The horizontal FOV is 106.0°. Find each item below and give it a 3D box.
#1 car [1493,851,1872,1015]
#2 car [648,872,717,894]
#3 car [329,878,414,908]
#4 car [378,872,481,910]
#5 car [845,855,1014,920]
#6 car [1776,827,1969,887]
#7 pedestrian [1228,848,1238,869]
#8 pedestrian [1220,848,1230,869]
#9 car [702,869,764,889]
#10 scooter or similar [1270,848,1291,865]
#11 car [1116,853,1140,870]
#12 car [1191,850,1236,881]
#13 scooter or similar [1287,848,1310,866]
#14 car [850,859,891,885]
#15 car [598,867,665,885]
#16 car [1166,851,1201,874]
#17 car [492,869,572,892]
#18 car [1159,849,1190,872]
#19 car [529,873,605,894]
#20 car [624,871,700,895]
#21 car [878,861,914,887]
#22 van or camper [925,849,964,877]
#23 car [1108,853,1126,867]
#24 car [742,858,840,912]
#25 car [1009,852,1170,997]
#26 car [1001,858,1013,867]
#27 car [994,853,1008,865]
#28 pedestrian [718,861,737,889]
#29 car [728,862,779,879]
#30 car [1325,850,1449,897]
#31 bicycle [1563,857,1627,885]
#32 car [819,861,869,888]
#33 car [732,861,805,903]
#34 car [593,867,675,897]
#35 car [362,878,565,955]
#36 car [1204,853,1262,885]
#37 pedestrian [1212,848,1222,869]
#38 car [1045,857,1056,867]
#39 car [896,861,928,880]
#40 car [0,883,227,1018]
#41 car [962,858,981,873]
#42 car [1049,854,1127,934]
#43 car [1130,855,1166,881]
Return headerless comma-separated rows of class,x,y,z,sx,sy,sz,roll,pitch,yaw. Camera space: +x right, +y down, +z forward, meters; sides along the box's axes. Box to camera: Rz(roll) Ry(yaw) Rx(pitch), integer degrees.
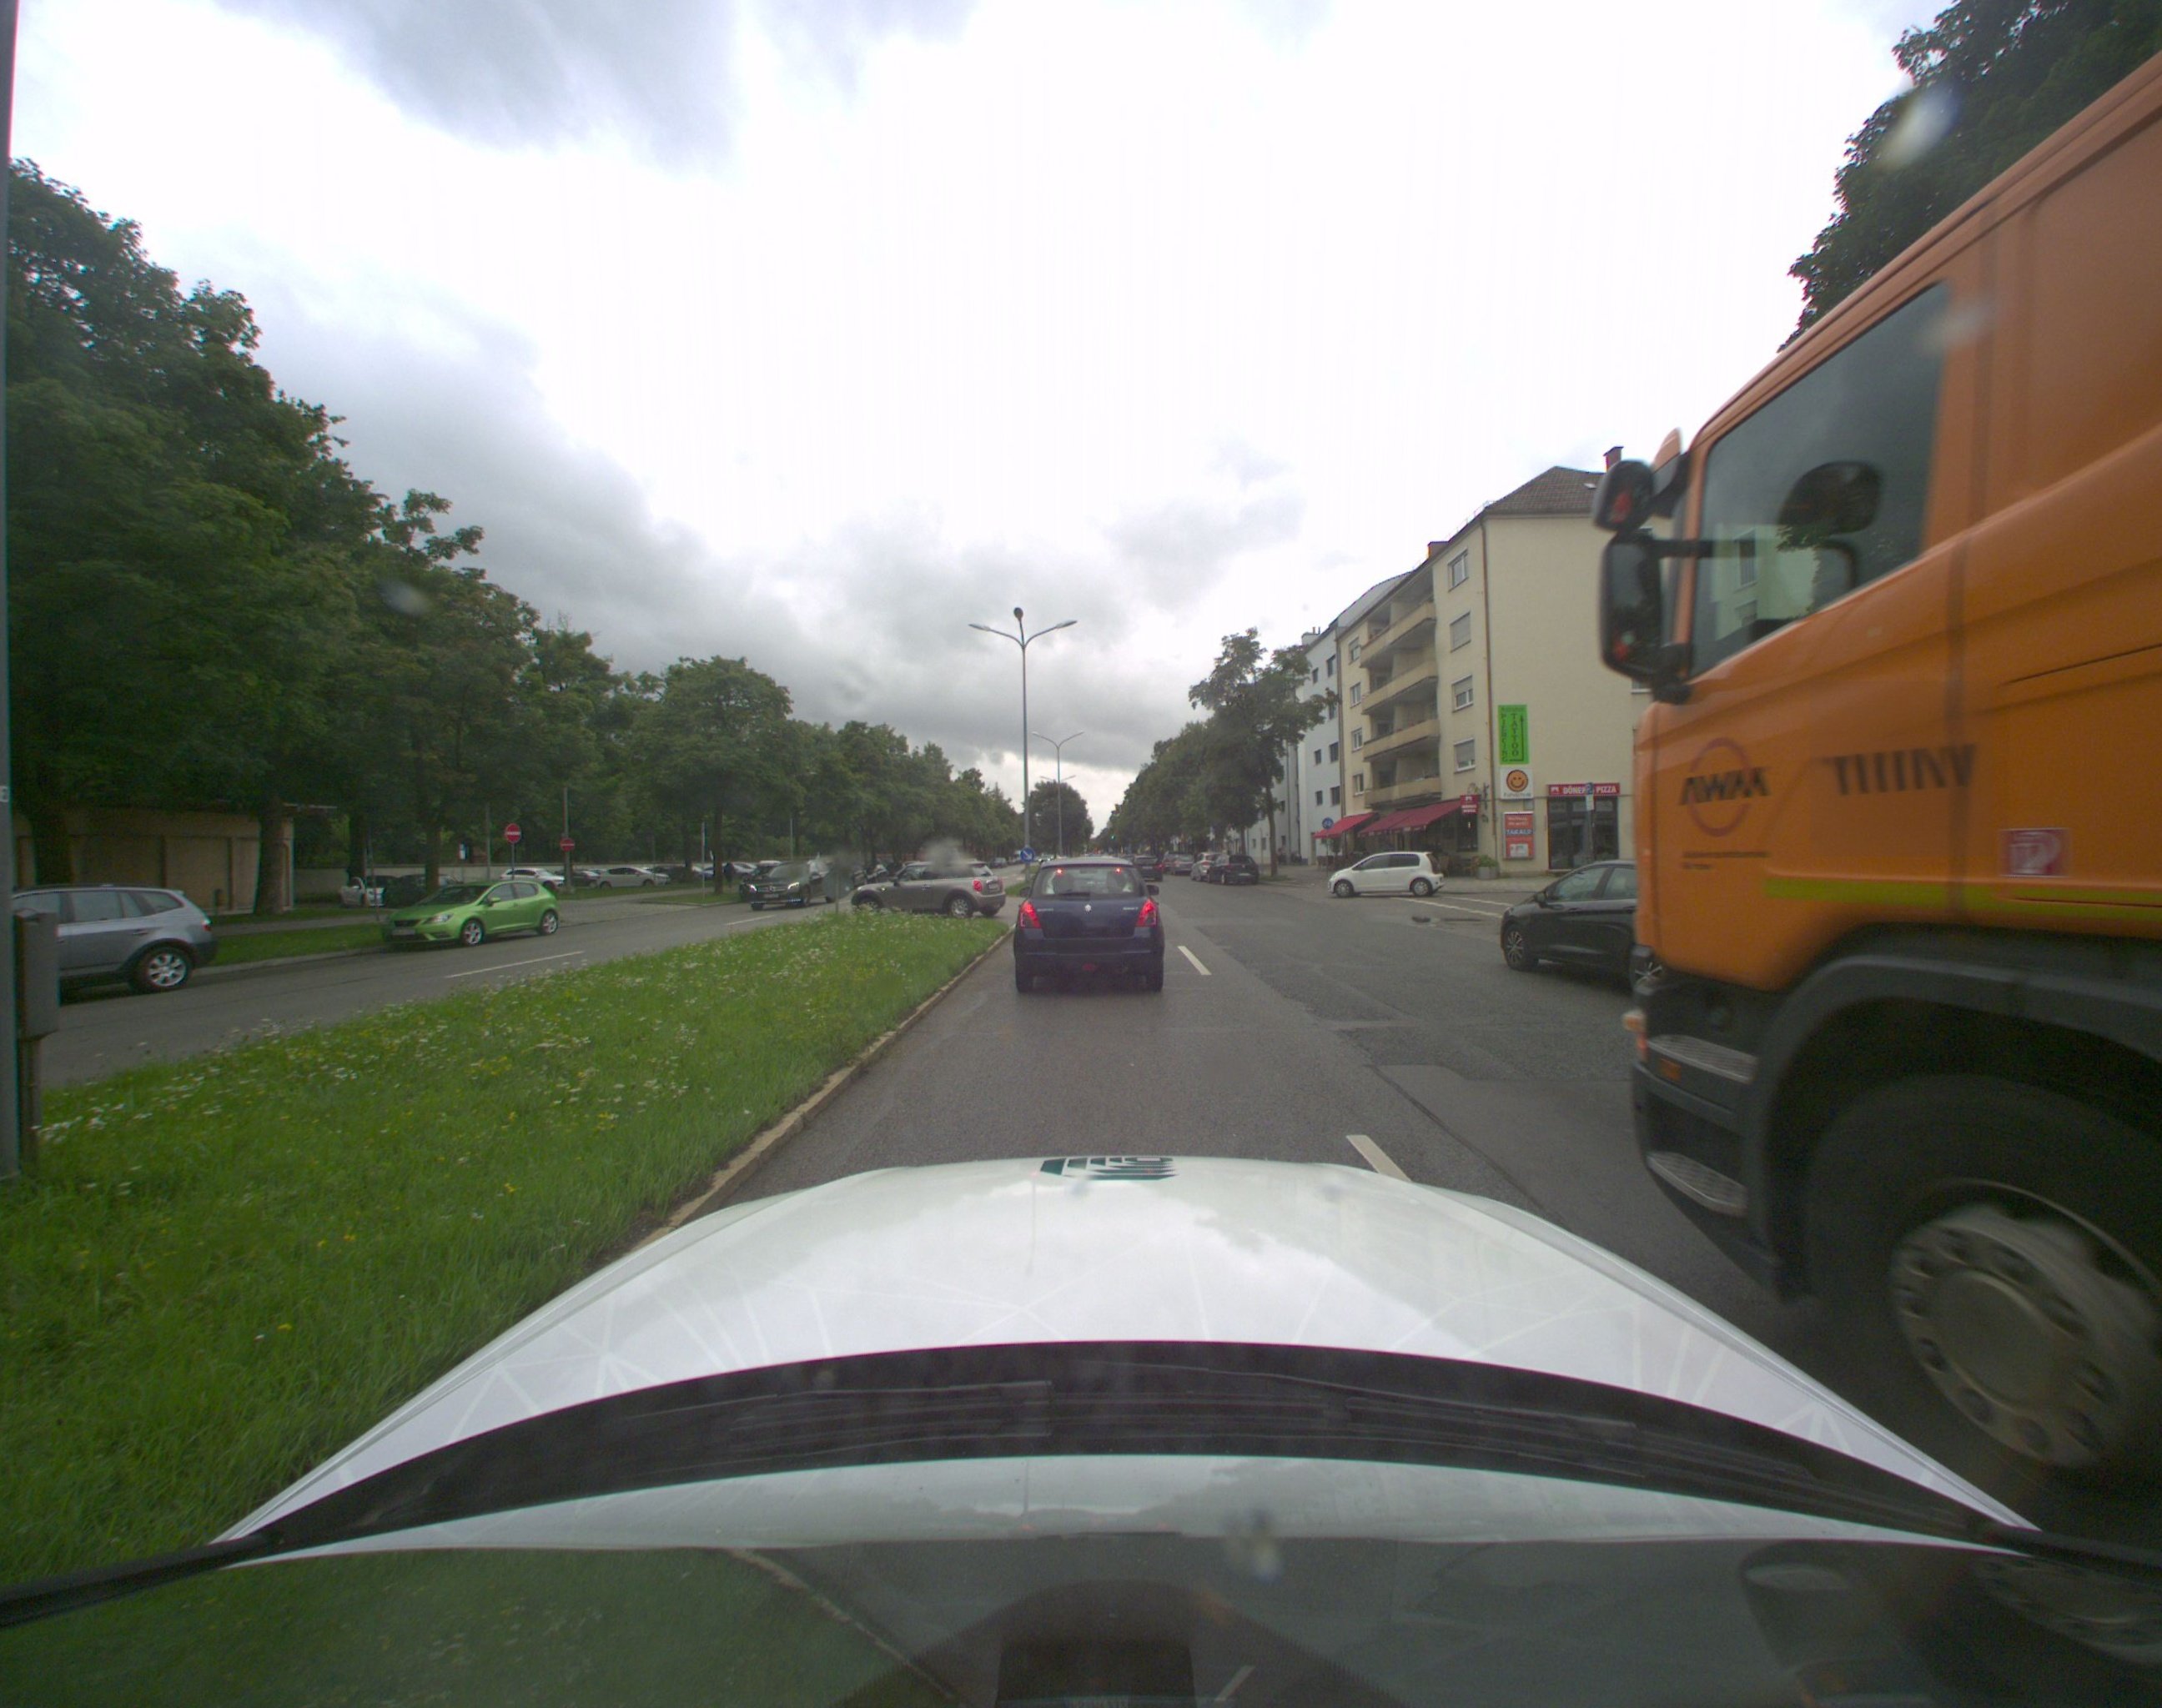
car,6.335,0.718,9.151,1.611,1.465,3.675,0,0,1
car,-27.144,1.963,55.508,3.859,1.445,1.670,-1,0,-5
car,-31.419,1.693,36.021,4.363,1.201,1.683,-1,-1,33
car,-26.622,1.477,33.250,4.363,1.446,1.973,-1,-1,33
car,-3.695,0.794,20.027,3.691,1.463,1.696,-1,0,19
car,24.984,0.096,25.817,4.381,1.661,1.870,-2,0,-2
pedestrian,15.095,0.439,80.691,0.791,2.013,1.006,-1,0,1
pedestrian,14.279,0.447,80.631,0.791,2.013,1.006,-1,0,1
car,-26.000,1.853,60.926,3.859,1.445,1.670,-1,0,-5
scooter or similar,16.130,0.188,65.877,1.029,1.307,2.756,-2,0,2
car,4.112,0.618,71.642,1.726,1.432,4.439,0,0,-2
car,7.164,0.597,44.412,1.786,1.558,4.224,-2,0,0
scooter or similar,16.382,0.189,61.400,1.029,1.307,2.756,-2,0,2
car,-13.351,1.127,51.877,1.585,1.558,3.879,-1,0,0
car,-37.469,1.843,67.935,4.674,1.445,1.673,-1,0,1
car,7.213,0.562,57.706,1.860,1.517,4.223,-2,0,-1
car,-38.489,1.851,57.150,4.489,1.476,1.673,-1,-1,1
car,7.111,0.459,62.403,1.860,1.682,4.223,-2,0,-1
car,-38.628,2.198,61.235,4.674,1.445,1.673,-1,0,1
car,-26.370,1.798,51.344,3.859,1.445,1.670,-1,0,-5
car,-13.173,1.384,58.252,1.627,1.741,3.879,-1,0,0
van or camper,-12.948,0.827,77.776,2.109,2.482,7.452,-1,0,2
car,3.628,0.617,82.002,1.676,1.383,3.919,0,0,1
car,-10.219,1.035,29.091,1.760,1.623,4.507,-3,0,1
car,0.093,0.740,10.575,1.676,1.502,3.918,-1,0,0
car,-13.314,1.466,146.447,1.627,1.583,3.879,-1,0,0
car,-11.418,0.738,116.322,1.627,1.583,3.879,-1,0,0
pedestrian,-20.073,1.182,46.234,0.725,1.534,0.721,-1,-1,1
car,-29.337,1.443,73.077,3.859,1.445,1.670,-1,0,-5
car,10.050,0.636,26.757,3.514,1.417,1.883,-2,0,30
bicycle,17.655,0.580,27.995,1.841,0.957,0.557,-1,-1,-1
car,-13.444,1.148,46.437,1.662,1.445,3.879,-1,0,0
car,-13.769,1.201,36.093,1.711,1.741,3.879,-1,0,0
car,-26.594,1.649,48.494,3.911,1.718,1.670,-1,0,-5
car,-14.149,1.367,18.971,1.541,1.409,3.883,-3,0,4
car,7.349,0.673,39.661,1.861,1.417,4.221,-2,0,-2
pedestrian,13.438,0.456,80.741,0.791,2.013,1.006,-1,0,1
car,-5.020,1.277,133.922,1.627,1.552,3.879,-1,0,0
car,-13.158,1.267,63.589,1.627,1.431,3.879,-1,0,0
car,-14.319,1.296,10.601,1.685,1.586,4.371,-3,0,0
car,-12.507,1.313,93.299,1.627,1.583,3.879,-1,0,0
car,0.138,0.752,16.876,1.439,1.483,3.106,-1,0,0
car,3.716,0.745,46.006,1.752,1.413,4.463,0,0,1
